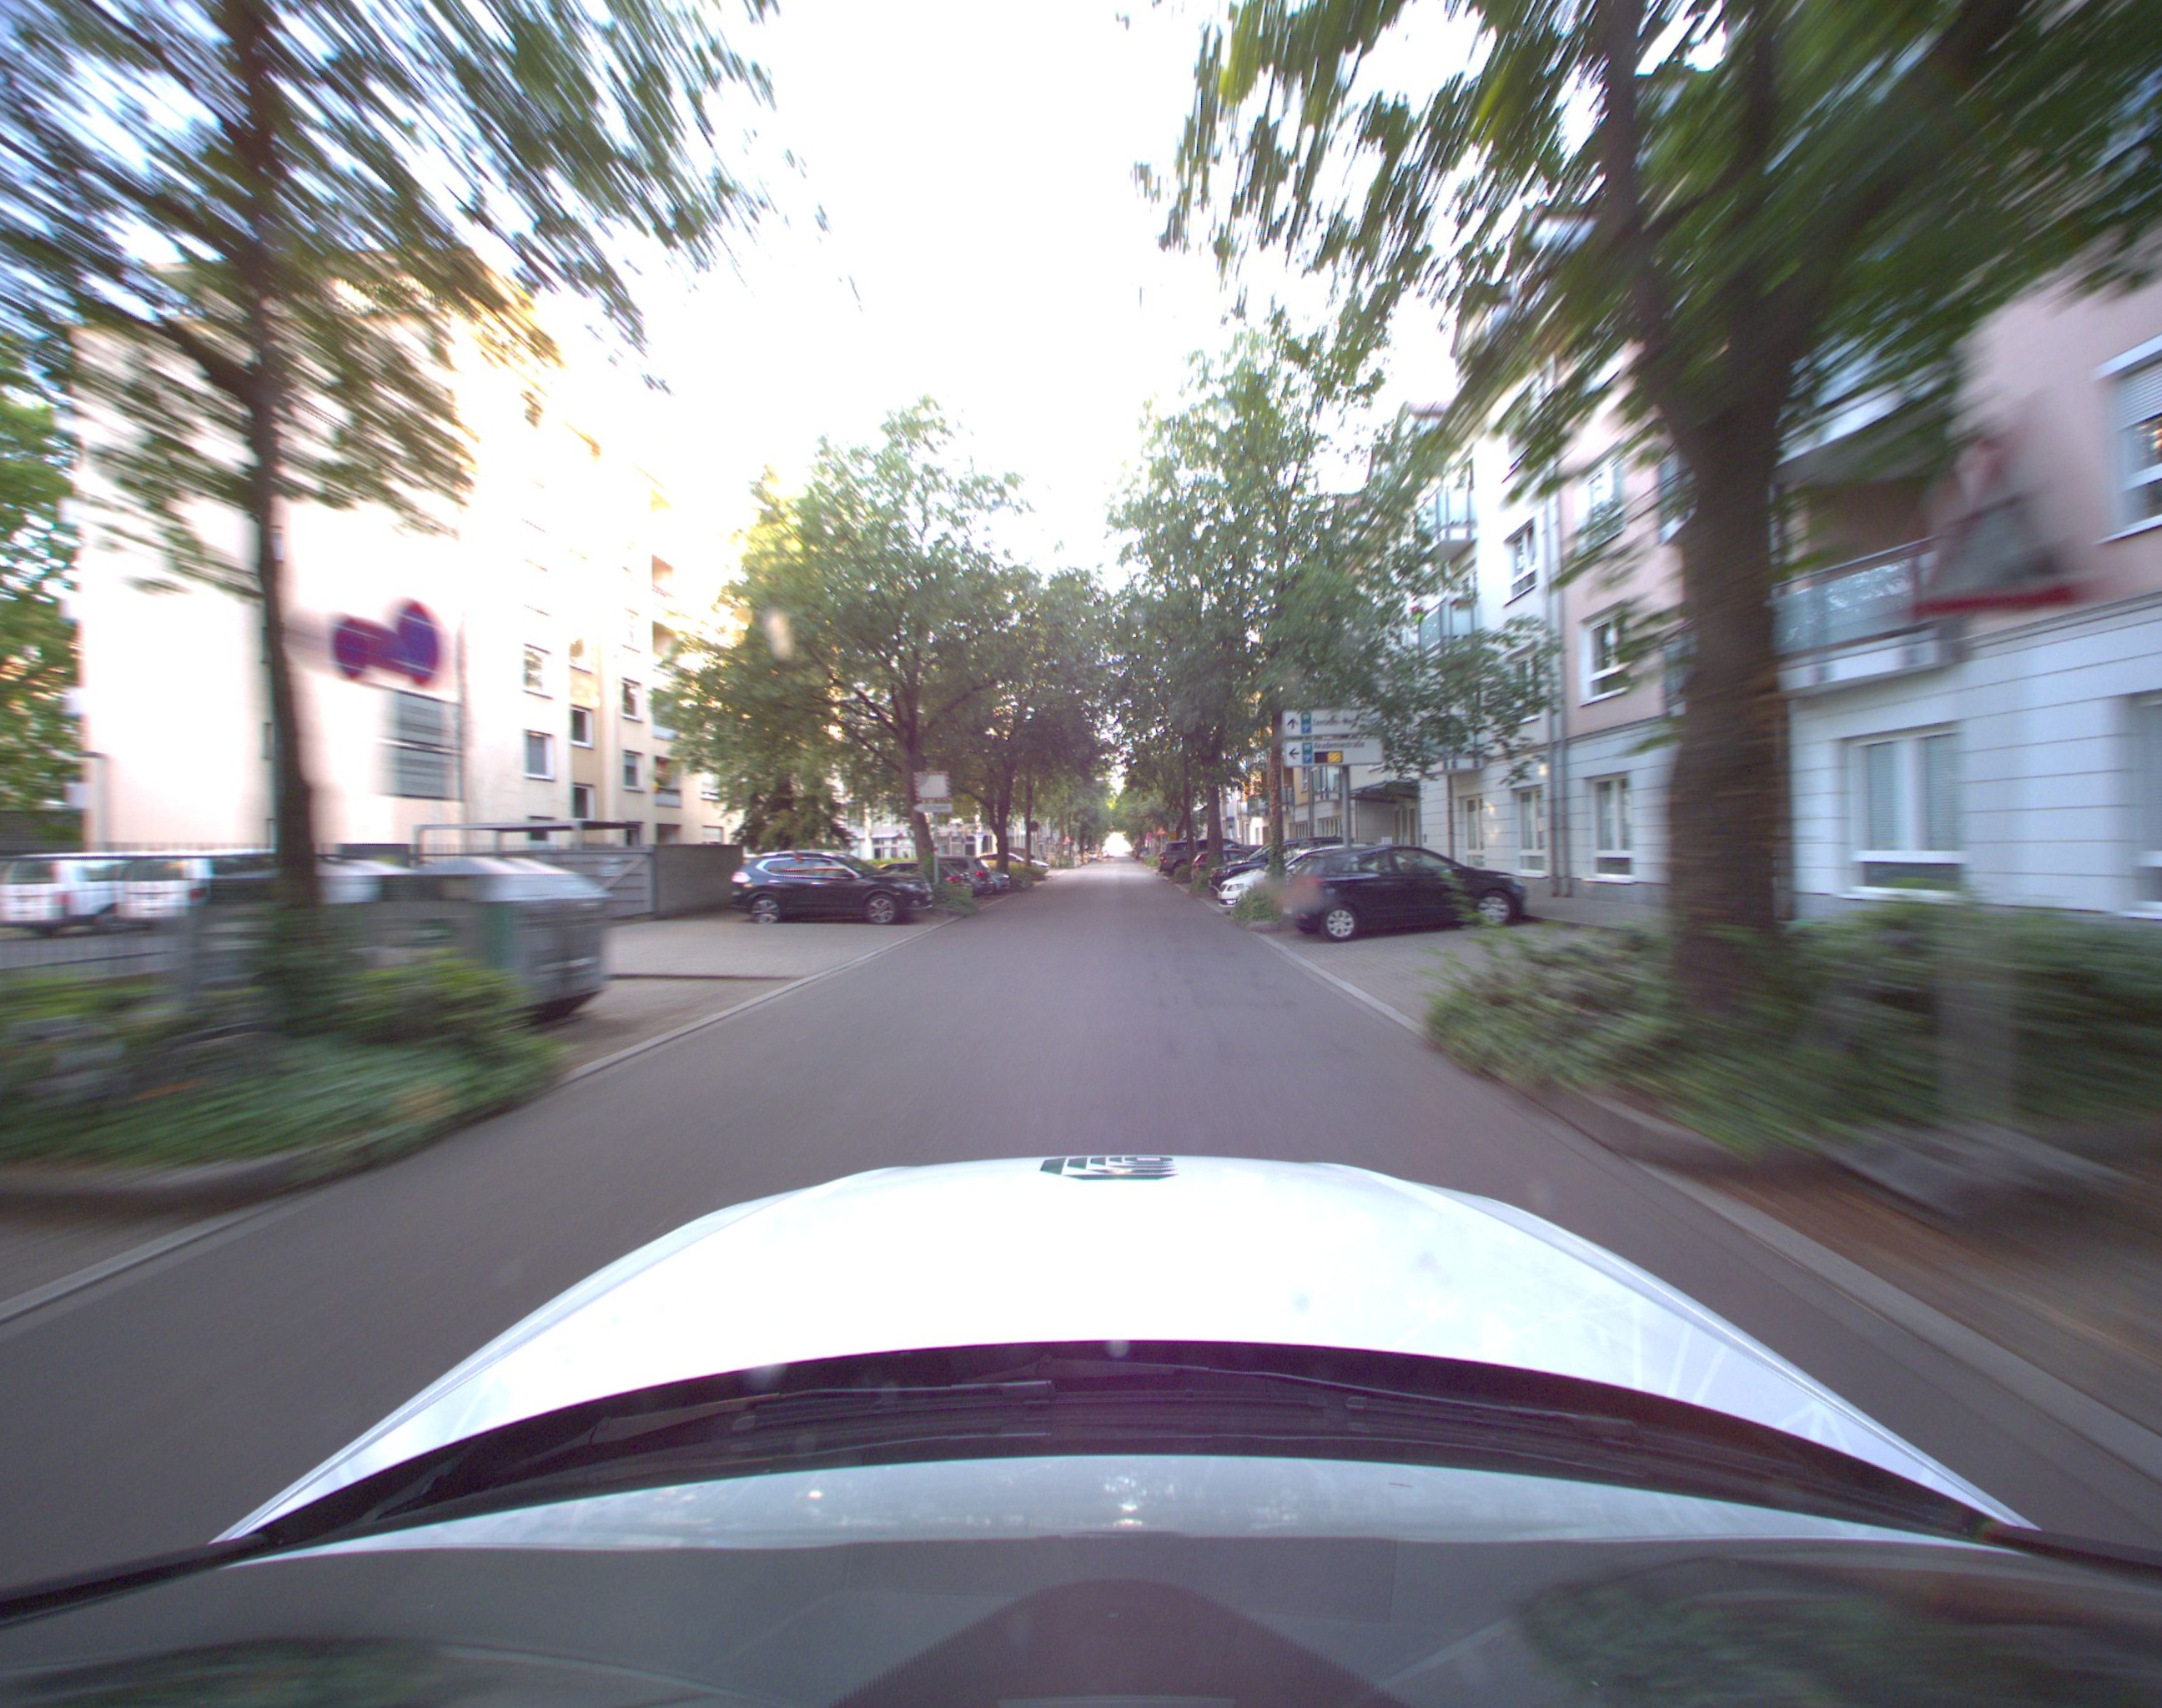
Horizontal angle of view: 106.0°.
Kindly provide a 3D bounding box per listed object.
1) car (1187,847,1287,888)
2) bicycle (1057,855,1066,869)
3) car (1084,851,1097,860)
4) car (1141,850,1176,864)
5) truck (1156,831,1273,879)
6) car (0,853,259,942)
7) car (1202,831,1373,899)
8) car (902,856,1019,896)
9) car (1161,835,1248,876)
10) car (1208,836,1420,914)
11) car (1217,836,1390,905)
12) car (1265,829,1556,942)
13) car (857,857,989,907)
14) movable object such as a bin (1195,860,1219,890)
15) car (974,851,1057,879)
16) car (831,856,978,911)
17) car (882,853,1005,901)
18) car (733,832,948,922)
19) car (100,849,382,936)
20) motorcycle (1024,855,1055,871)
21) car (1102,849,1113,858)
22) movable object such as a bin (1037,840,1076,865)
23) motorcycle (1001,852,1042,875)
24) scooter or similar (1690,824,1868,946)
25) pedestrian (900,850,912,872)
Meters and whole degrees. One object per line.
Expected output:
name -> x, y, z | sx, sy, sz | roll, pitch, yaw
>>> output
car -> 6.349, 0.527, 33.427 | 3.763, 1.544, 1.878 | -1, 0, 1
bicycle -> -1.705, 0.694, 71.542 | 0.681, 1.152, 1.979 | -2, 1, -2
car -> 1.508, 0.213, 131.134 | 1.988, 1.288, 3.998 | -2, 0, -1
car -> 8.958, 0.337, 94.446 | 3.969, 1.585, 2.002 | -2, 0, 4
truck -> 6.969, 0.034, 43.037 | 5.863, 2.311, 2.214 | -2, 0, 3
car -> -23.667, 0.976, 20.362 | 1.985, 1.947, 4.004 | -2, 0, 4
car -> 6.242, 0.320, 24.999 | 4.630, 1.617, 2.009 | -5, 0, -2
car -> -4.747, 0.868, 32.397 | 4.270, 1.429, 1.880 | -2, 0, 2
car -> 6.895, 0.059, 45.787 | 4.583, 2.066, 2.198 | -2, 0, 1
car -> 5.549, 0.490, 19.811 | 4.583, 1.468, 1.797 | -5, 0, 1
car -> 6.007, 0.435, 22.411 | 4.204, 1.438, 1.932 | -5, 0, 4
car -> 5.440, 0.488, 13.816 | 4.074, 1.451, 1.933 | -5, 0, -3
car -> -5.197, 0.897, 27.113 | 3.974, 1.490, 1.825 | -2, 0, 0
movable object such as a bin -> 4.773, 0.801, 30.928 | 0.757, 1.084, 0.786 | -3, 0, 3
car -> -3.834, 0.634, 48.263 | 4.597, 1.552, 2.078 | -1, 0, 5
car -> -5.270, 0.862, 24.731 | 3.973, 1.464, 1.923 | -2, 0, 1
car -> -4.969, 0.821, 29.774 | 3.965, 1.565, 1.933 | -1, 0, 7
car -> -5.633, 0.520, 19.515 | 4.489, 1.955, 2.000 | -1, 0, 1
car -> -20.989, 0.861, 20.738 | 2.042, 1.923, 4.709 | -2, 0, 5
motorcycle -> -3.491, 0.758, 67.989 | 2.368, 1.281, 1.055 | -2, 1, -38
car -> 5.052, -0.063, 153.002 | 2.002, 1.613, 4.121 | -2, 0, 2
movable object such as a bin -> -2.590, -0.165, 86.127 | 4.037, 2.383, 2.781 | -2, 0, -3
motorcycle -> -3.761, 0.587, 51.859 | 2.441, 1.420, 0.912 | -2, 0, 4
scooter or similar -> 7.722, 0.311, 9.101 | 0.652, 1.203, 1.455 | -5, 0, 0
pedestrian -> -15.043, 0.623, 70.027 | 0.889, 1.851, 0.871 | -2, 0, -16
